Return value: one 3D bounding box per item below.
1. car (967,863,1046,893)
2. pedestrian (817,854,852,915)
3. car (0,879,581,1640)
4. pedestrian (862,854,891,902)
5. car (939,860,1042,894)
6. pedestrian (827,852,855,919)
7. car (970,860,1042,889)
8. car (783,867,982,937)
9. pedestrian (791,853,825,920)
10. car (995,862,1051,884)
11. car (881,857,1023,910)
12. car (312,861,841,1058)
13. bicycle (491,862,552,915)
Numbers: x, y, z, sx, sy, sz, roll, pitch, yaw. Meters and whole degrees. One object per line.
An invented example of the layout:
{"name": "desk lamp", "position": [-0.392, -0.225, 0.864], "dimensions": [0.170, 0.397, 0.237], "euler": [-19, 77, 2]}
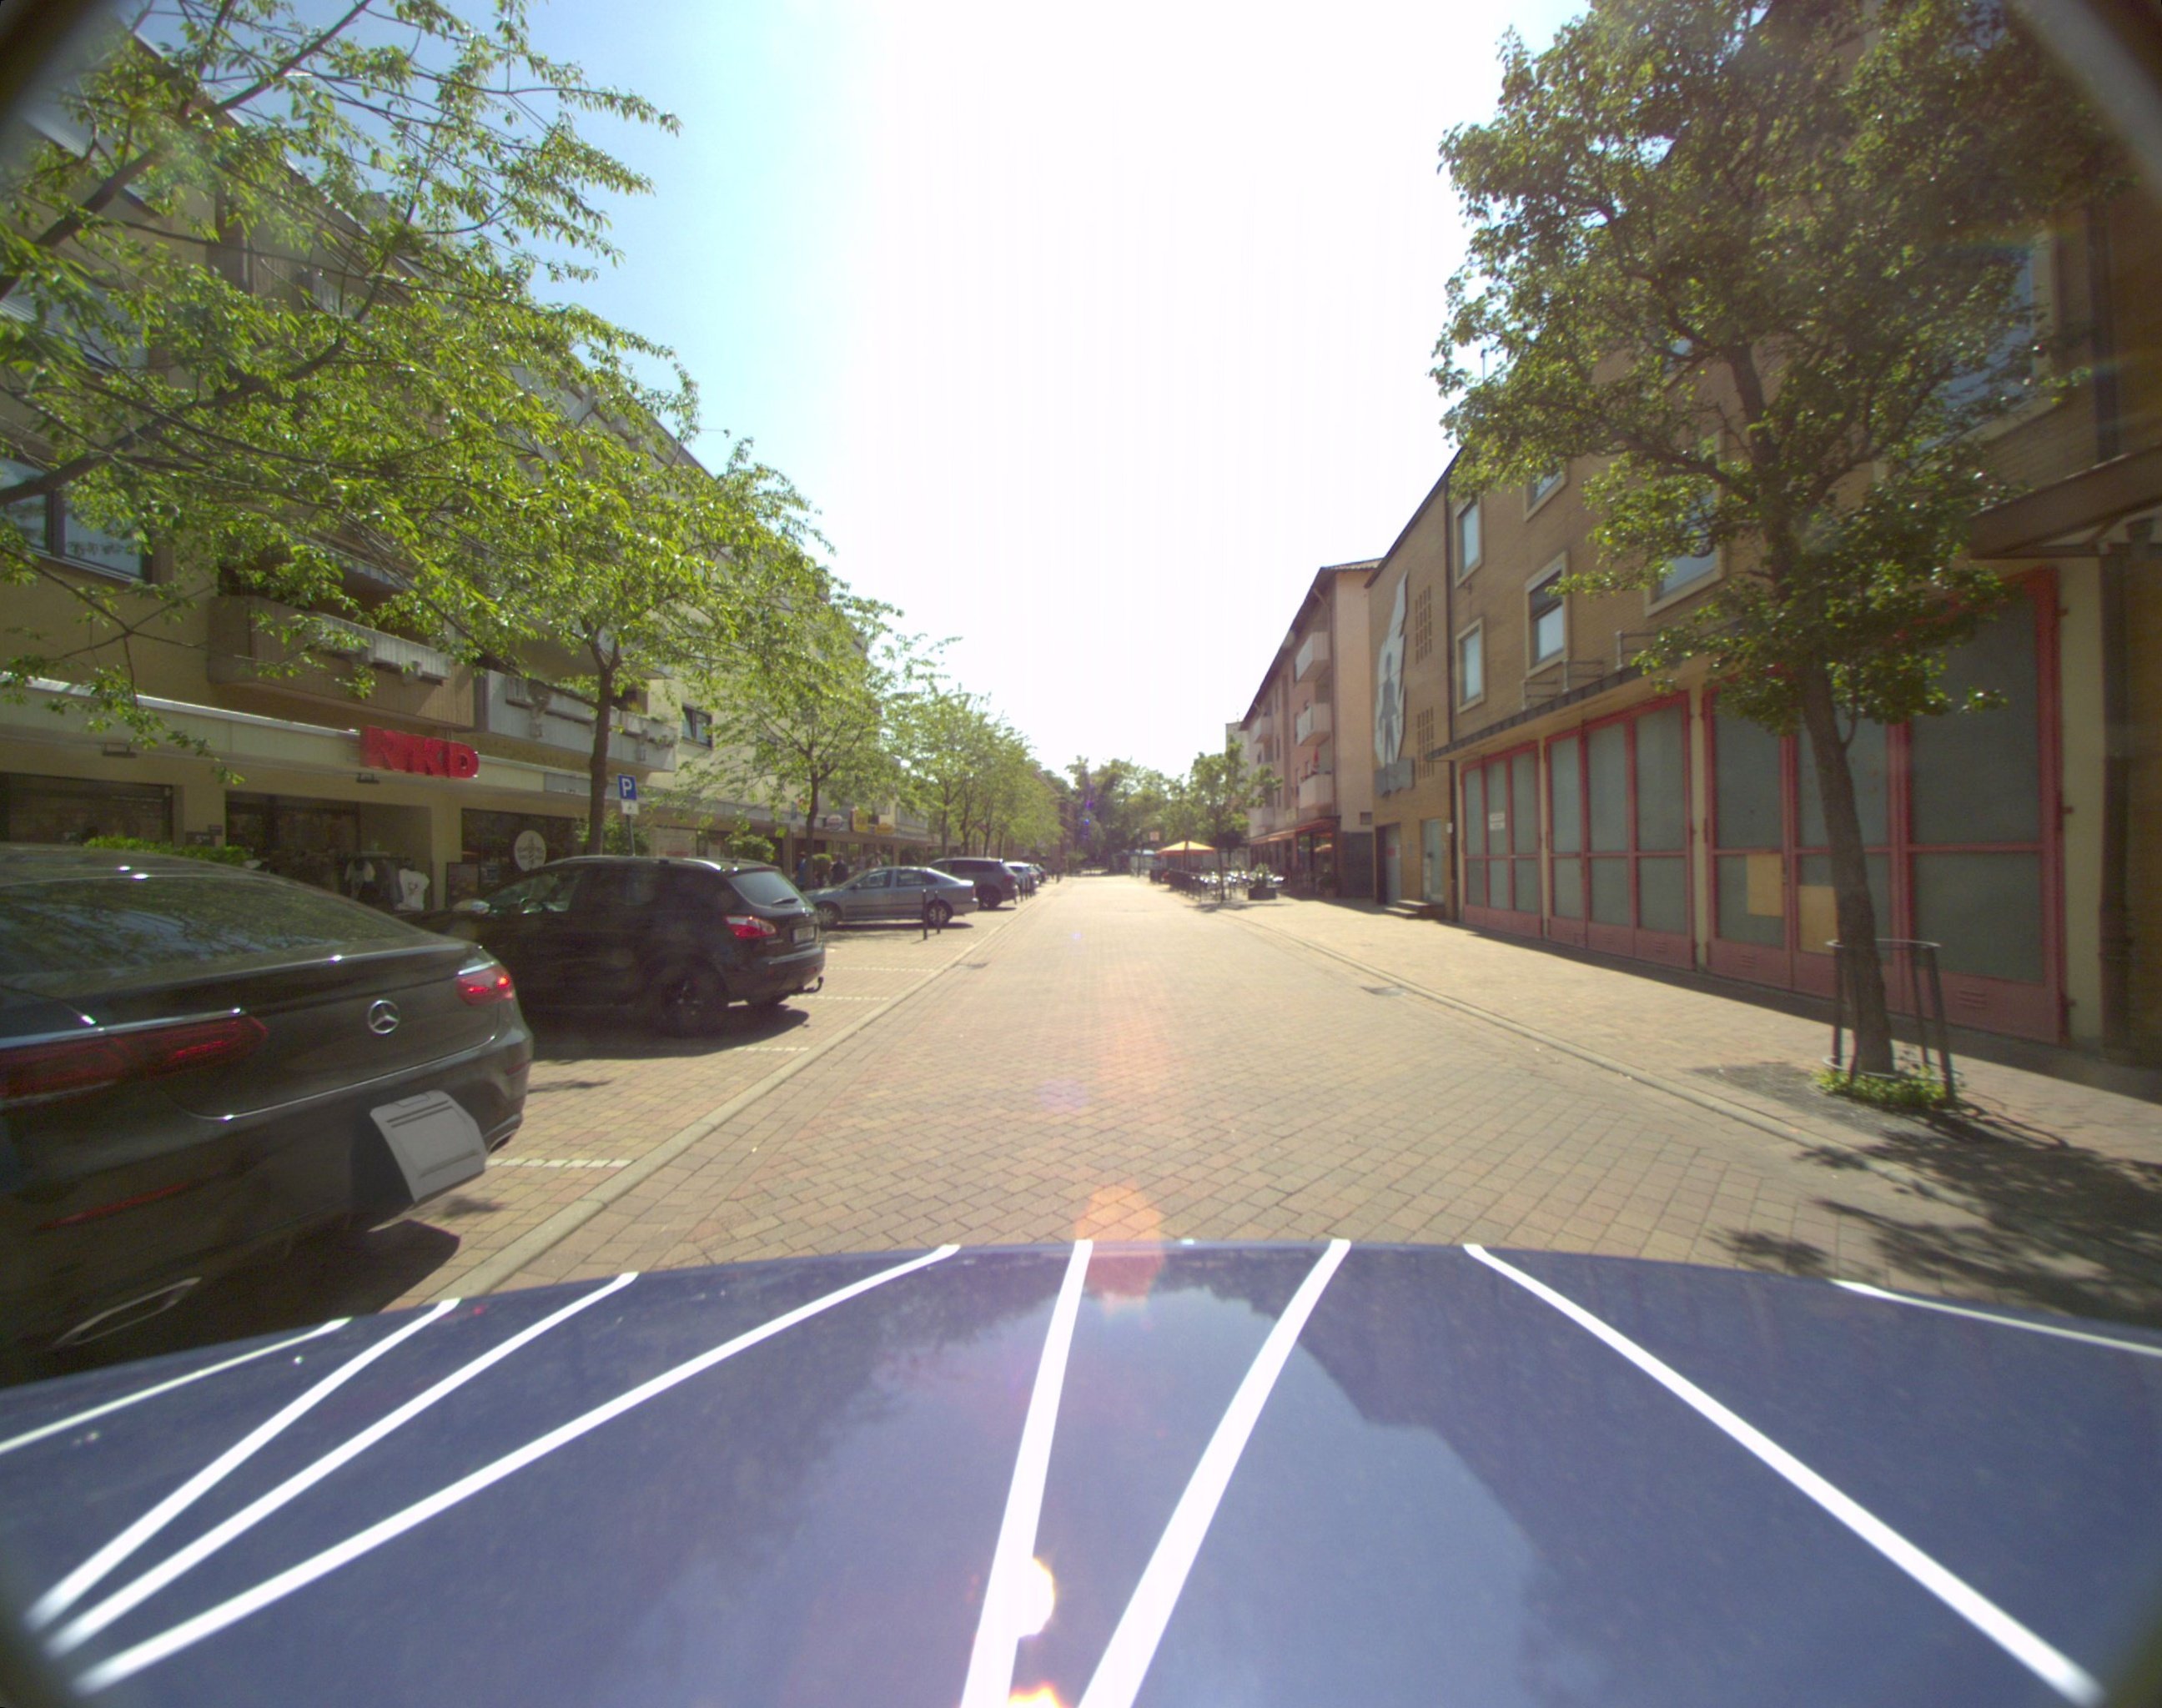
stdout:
{"name": "car", "position": [-3.736, 1.186, 38.352], "dimensions": [3.800, 1.423, 1.614], "euler": [0, 0, 2]}
{"name": "pedestrian", "position": [-7.158, 0.882, 22.071], "dimensions": [0.614, 1.721, 0.649], "euler": [-1, 1, 35]}
{"name": "car", "position": [-4.541, 0.903, 2.582], "dimensions": [4.518, 1.579, 1.851], "euler": [0, 0, 3]}
{"name": "pedestrian", "position": [-7.682, 0.891, 28.563], "dimensions": [0.759, 1.770, 0.871], "euler": [-1, 0, 8]}
{"name": "car", "position": [-4.220, 1.062, 35.811], "dimensions": [4.585, 1.534, 1.807], "euler": [0, 0, 2]}
{"name": "pedestrian", "position": [-6.650, 0.862, 21.061], "dimensions": [0.607, 1.785, 0.626], "euler": [-2, 0, -27]}
{"name": "car", "position": [-4.005, 1.094, 40.917], "dimensions": [3.652, 1.508, 1.633], "euler": [0, 0, 2]}
{"name": "car", "position": [-4.747, 1.076, 18.271], "dimensions": [4.391, 1.455, 1.887], "euler": [-1, 0, -19]}
{"name": "pedestrian", "position": [-7.411, 0.870, 20.621], "dimensions": [0.633, 1.763, 0.685], "euler": [-2, 0, -37]}
{"name": "car", "position": [-3.684, 1.211, 48.460], "dimensions": [3.401, 1.382, 1.460], "euler": [0, 0, 2]}
{"name": "car", "position": [-4.066, 0.919, 24.426], "dimensions": [4.254, 1.608, 1.757], "euler": [0, 0, 0]}
{"name": "car", "position": [-4.633, 0.907, 7.375], "dimensions": [4.036, 1.602, 1.681], "euler": [1, 0, 2]}
{"name": "bicycle", "position": [-12.168, 0.727, 16.552], "dimensions": [0.361, 1.061, 1.313], "euler": [-2, 1, -3]}
